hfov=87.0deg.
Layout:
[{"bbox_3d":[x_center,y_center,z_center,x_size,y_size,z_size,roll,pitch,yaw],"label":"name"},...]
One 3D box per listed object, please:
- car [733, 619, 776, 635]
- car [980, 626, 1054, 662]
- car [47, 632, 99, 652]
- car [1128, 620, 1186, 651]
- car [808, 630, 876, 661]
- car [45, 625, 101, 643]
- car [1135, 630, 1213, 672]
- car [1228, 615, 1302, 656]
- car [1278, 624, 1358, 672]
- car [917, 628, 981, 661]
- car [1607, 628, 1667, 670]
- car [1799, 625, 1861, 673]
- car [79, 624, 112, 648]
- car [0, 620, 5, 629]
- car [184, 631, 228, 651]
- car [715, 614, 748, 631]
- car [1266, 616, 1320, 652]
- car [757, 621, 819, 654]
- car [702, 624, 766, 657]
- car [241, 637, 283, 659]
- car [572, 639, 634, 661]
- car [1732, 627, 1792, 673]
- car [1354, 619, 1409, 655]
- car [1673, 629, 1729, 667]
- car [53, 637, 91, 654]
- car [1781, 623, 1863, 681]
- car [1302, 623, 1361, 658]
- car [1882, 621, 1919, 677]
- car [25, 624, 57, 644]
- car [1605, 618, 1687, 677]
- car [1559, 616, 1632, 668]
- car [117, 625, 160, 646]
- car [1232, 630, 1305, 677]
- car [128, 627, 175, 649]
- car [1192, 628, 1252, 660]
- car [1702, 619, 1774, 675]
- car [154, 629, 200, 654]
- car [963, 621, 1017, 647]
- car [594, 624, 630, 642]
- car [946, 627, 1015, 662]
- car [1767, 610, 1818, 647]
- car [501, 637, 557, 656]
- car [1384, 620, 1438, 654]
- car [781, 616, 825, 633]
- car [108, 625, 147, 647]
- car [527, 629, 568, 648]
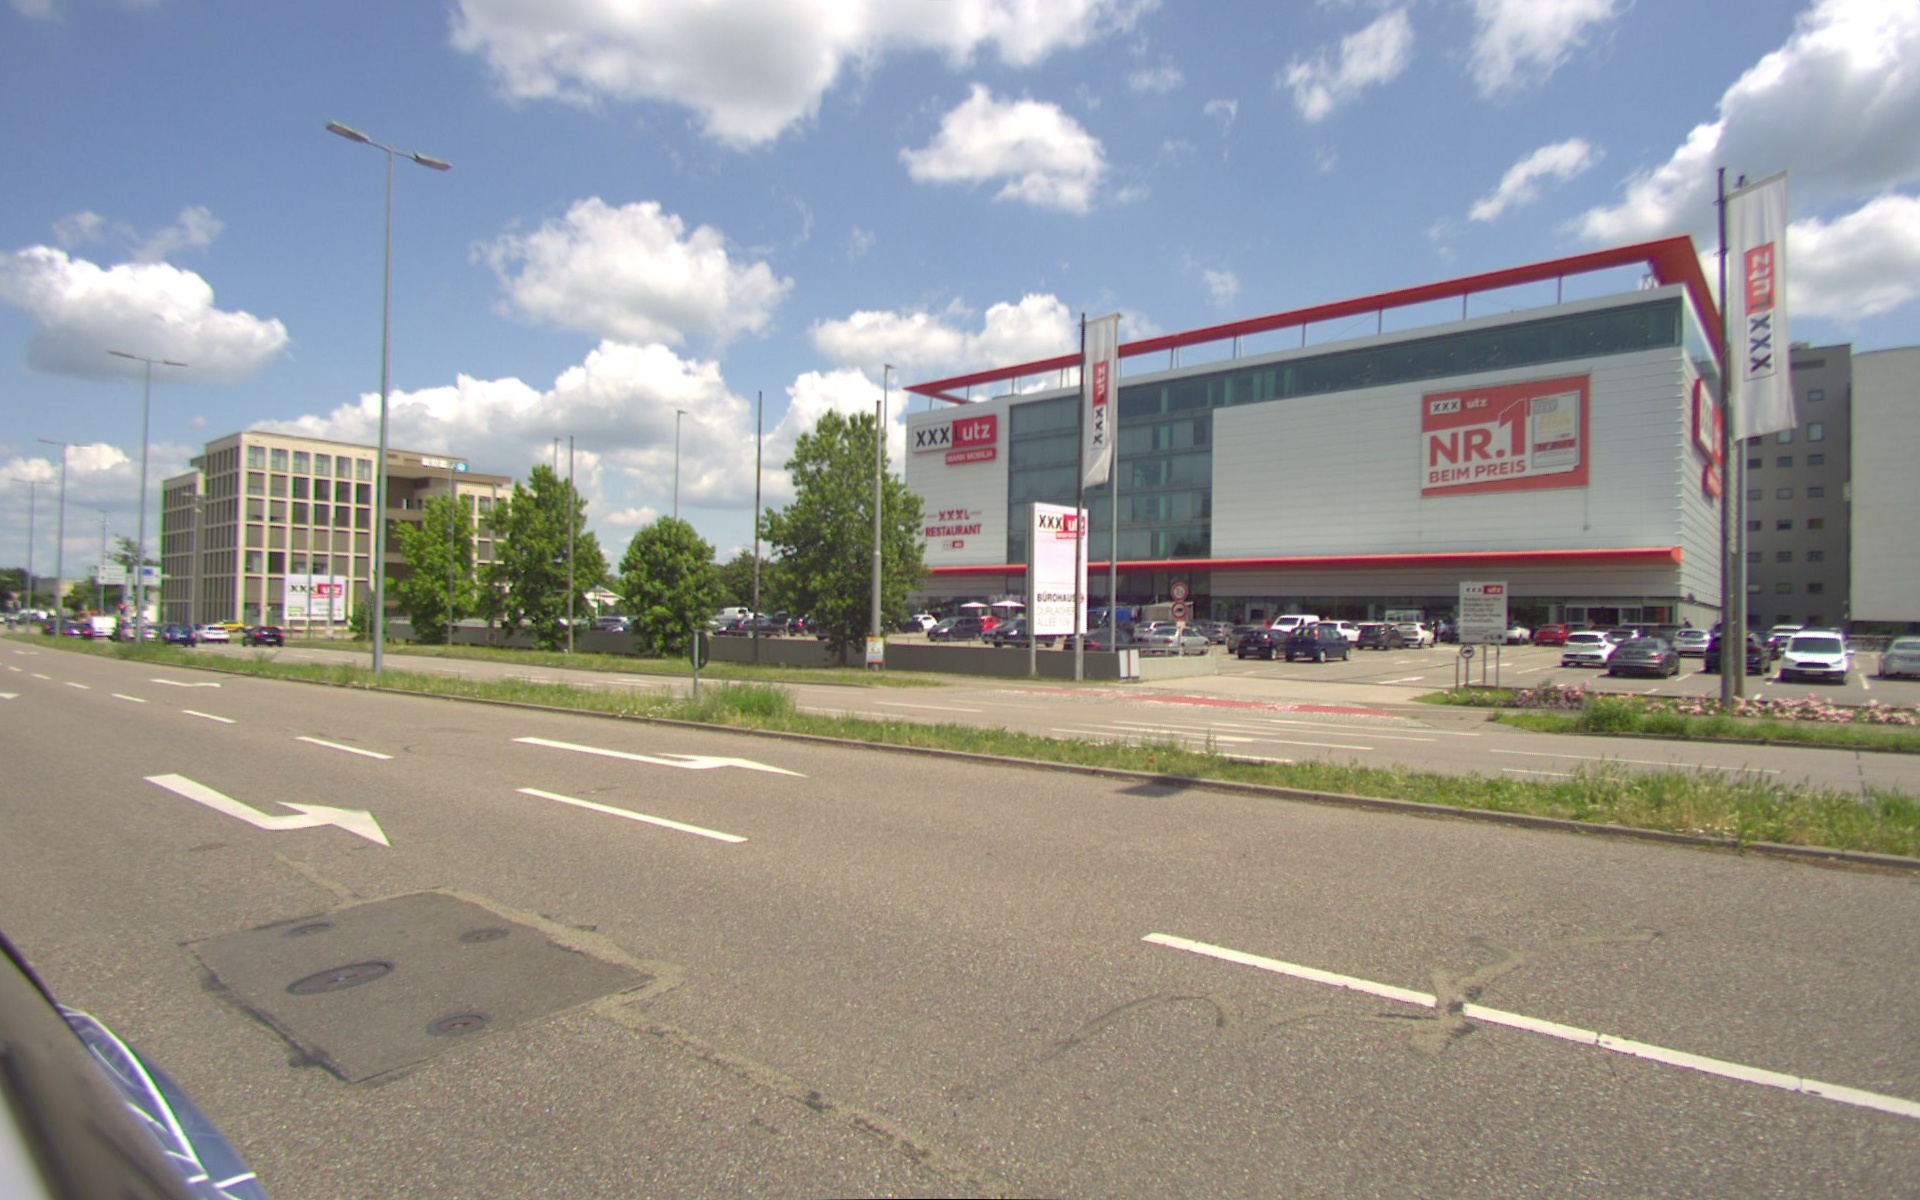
[{"bbox_3d":[-19.964,2.646,98.468,1.856,1.481,3.778,-2,-3,43],"label":"car"},{"bbox_3d":[3.277,2.492,57.638,1.999,2.004,4.304,-1,-3,40],"label":"car"},{"bbox_3d":[-71.894,3.391,81.999,3.747,1.572,1.782,-1,-3,24],"label":"car"},{"bbox_3d":[13.318,2.385,68.308,1.999,2.004,4.304,-1,-3,40],"label":"car"},{"bbox_3d":[-7.770,2.997,66.930,1.999,2.004,4.304,-3,-4,40],"label":"car"},{"bbox_3d":[-84.478,3.272,96.401,3.938,1.704,1.861,3,-3,-42],"label":"car"},{"bbox_3d":[10.634,2.494,50.067,1.999,2.004,4.304,-1,-3,40],"label":"car"},{"bbox_3d":[15.878,1.855,52.506,1.998,2.029,4.763,-1,-3,39],"label":"car"},{"bbox_3d":[16.147,2.114,45.521,1.999,2.004,4.304,-1,-2,40],"label":"car"},{"bbox_3d":[-0.724,2.946,67.370,1.990,2.058,4.242,-1,-3,40],"label":"car"},{"bbox_3d":[33.927,2.445,50.679,1.999,2.004,4.304,-1,-3,40],"label":"car"},{"bbox_3d":[38.645,2.155,45.022,1.999,2.004,4.031,-1,-3,40],"label":"car"},{"bbox_3d":[-74.864,3.151,87.653,3.578,2.059,1.836,-3,-4,45],"label":"car"},{"bbox_3d":[-172.731,4.361,181.236,4.485,1.731,2.258,-1,-2,45],"label":"car"},{"bbox_3d":[-59.654,3.247,80.064,4.351,1.484,1.604,-2,-3,37],"label":"car"},{"bbox_3d":[-26.775,2.637,118.375,3.830,1.847,1.831,-2,-3,40],"label":"car"},{"bbox_3d":[22.383,2.298,67.914,1.869,2.324,4.509,-1,-3,40],"label":"car"},{"bbox_3d":[-12.743,2.763,75.161,1.999,2.347,4.304,-1,-3,40],"label":"car"},{"bbox_3d":[-16.690,2.982,74.947,1.999,2.347,4.304,-1,-3,40],"label":"car"},{"bbox_3d":[-48.120,3.283,69.725,4.118,1.481,1.600,-2,-4,45],"label":"car"},{"bbox_3d":[-26.901,3.750,76.340,1.850,1.608,3.942,-2,-3,44],"label":"car"},{"bbox_3d":[36.761,2.275,46.329,1.999,2.004,4.304,-1,-3,40],"label":"car"},{"bbox_3d":[24.326,2.124,58.307,1.776,2.029,3.946,-2,-3,40],"label":"car"},{"bbox_3d":[38.169,2.451,52.088,1.999,1.896,4.304,-1,-3,40],"label":"car"},{"bbox_3d":[-67.938,3.474,77.374,4.307,1.260,1.772,-2,-4,43],"label":"car"},{"bbox_3d":[29.343,1.734,34.515,1.999,1.853,4.304,-1,-3,40],"label":"car"},{"bbox_3d":[22.348,2.409,60.798,1.999,2.004,4.304,-1,-3,40],"label":"car"},{"bbox_3d":[34.151,1.731,35.839,1.999,1.896,4.304,-1,-3,40],"label":"car"},{"bbox_3d":[-77.262,2.874,85.066,4.172,1.657,1.771,-3,-4,45],"label":"car"},{"bbox_3d":[25.080,1.718,36.934,1.999,2.004,4.304,-1,-3,40],"label":"car"},{"bbox_3d":[26.875,1.754,42.738,1.999,2.004,4.304,1,-1,40],"label":"car"},{"bbox_3d":[-59.639,2.607,73.450,4.845,1.413,1.772,-2,-5,43],"label":"car"},{"bbox_3d":[14.460,2.451,47.266,1.841,2.004,4.030,-1,-1,40],"label":"car"},{"bbox_3d":[-55.021,2.579,68.879,4.674,1.429,1.772,-2,-4,43],"label":"car"},{"bbox_3d":[16.895,2.852,65.255,1.999,2.004,4.302,-2,-3,42],"label":"car"},{"bbox_3d":[30.047,1.790,39.030,1.999,2.004,4.304,-1,-3,40],"label":"car"},{"bbox_3d":[-48.672,2.569,62.869,3.678,1.486,1.719,0,-2,44],"label":"car"},{"bbox_3d":[2.382,2.673,79.166,1.999,2.004,4.304,-1,-3,40],"label":"car"},{"bbox_3d":[-37.092,3.549,107.731,3.828,1.847,1.832,-2,-3,39],"label":"car"},{"bbox_3d":[1.313,2.742,62.499,1.999,2.065,4.304,-1,-3,40],"label":"car"},{"bbox_3d":[47.563,1.653,57.797,2.000,2.004,4.028,-1,-3,42],"label":"car"},{"bbox_3d":[-36.778,3.950,86.384,1.919,1.608,3.942,-2,-3,44],"label":"car"},{"bbox_3d":[27.663,2.273,62.042,1.999,2.029,3.946,-2,-3,40],"label":"car"},{"bbox_3d":[-14.423,2.304,93.225,1.681,1.481,3.779,-2,-3,43],"label":"car"},{"bbox_3d":[-64.521,2.813,78.378,4.227,1.714,1.772,-2,-4,43],"label":"car"},{"bbox_3d":[-41.450,3.844,101.649,4.671,1.847,1.831,-2,-3,41],"label":"car"}]
